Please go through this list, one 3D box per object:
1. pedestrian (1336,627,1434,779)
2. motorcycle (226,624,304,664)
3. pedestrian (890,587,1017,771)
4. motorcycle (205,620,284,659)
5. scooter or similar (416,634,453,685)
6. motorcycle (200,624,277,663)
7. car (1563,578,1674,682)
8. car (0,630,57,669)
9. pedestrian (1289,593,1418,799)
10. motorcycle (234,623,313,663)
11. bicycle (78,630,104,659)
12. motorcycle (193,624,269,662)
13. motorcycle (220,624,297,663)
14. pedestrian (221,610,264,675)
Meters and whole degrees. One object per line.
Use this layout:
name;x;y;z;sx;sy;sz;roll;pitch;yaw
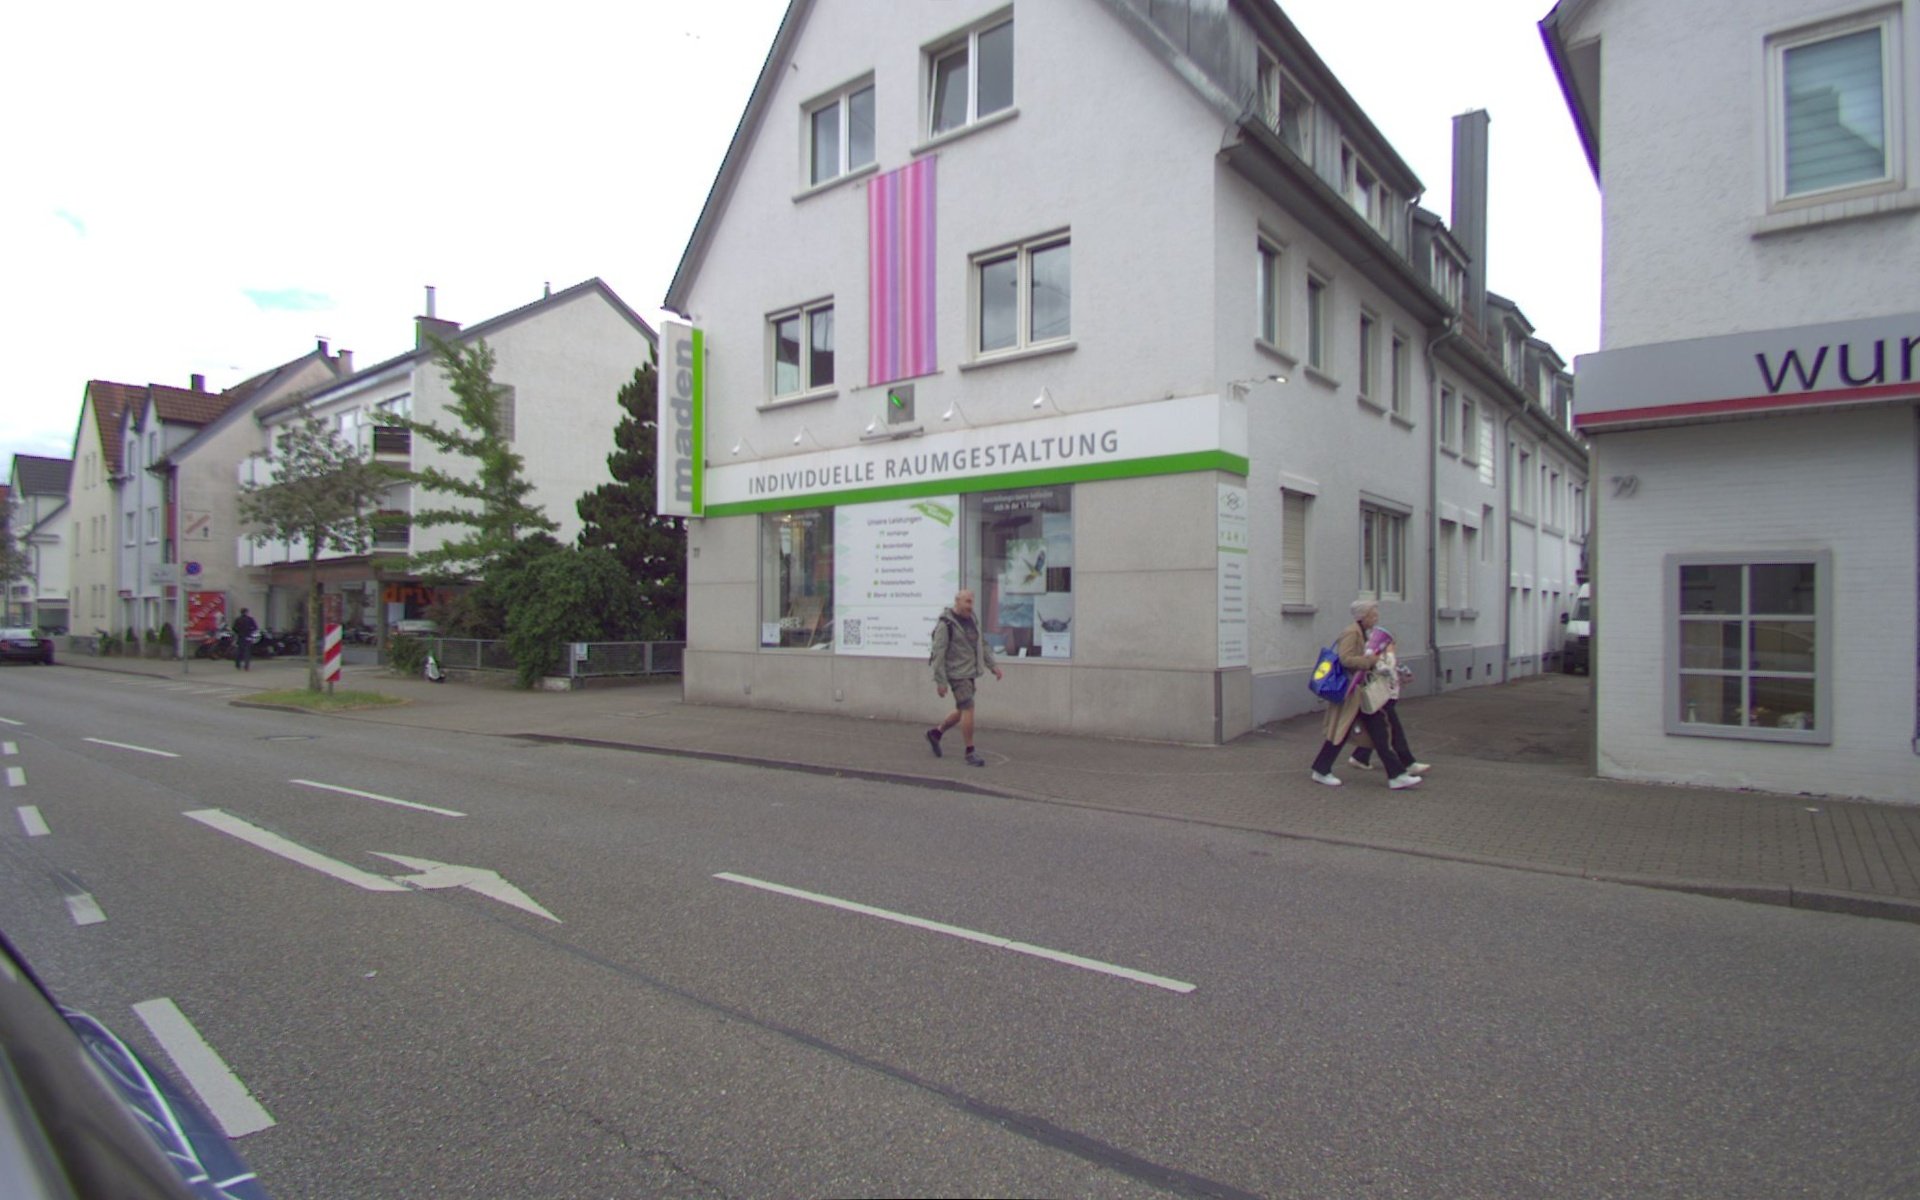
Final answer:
pedestrian;3.865;0.900;9.201;0.654;1.289;0.593;-1;0;40
motorcycle;-24.832;1.552;36.205;0.612;1.275;2.204;-1;1;38
pedestrian;-0.068;0.761;10.301;1.019;1.756;0.744;-1;1;40
motorcycle;-26.190;1.440;37.080;0.698;1.275;2.204;-1;1;38
scooter or similar;-11.937;1.345;22.992;1.179;1.120;0.336;-1;-1;41
motorcycle;-26.741;1.588;37.546;0.612;1.275;2.204;-1;1;38
car;18.221;0.733;27.860;1.957;2.527;5.918;2;1;38
car;-36.054;1.849;38.578;4.337;1.428;1.770;-1;-2;39
pedestrian;3.372;0.775;8.667;0.792;1.629;0.744;-1;2;40
motorcycle;-24.174;1.496;35.664;0.612;1.275;2.204;-1;1;38
bicycle;-37.600;1.919;43.768;2.022;1.205;0.509;-1;-1;39
motorcycle;-27.351;1.599;38.002;0.612;1.275;2.204;-1;1;38
motorcycle;-25.396;1.563;36.677;0.612;1.275;2.204;-1;1;38
pedestrian;-21.393;1.256;30.168;1.019;1.863;0.744;-1;2;40
